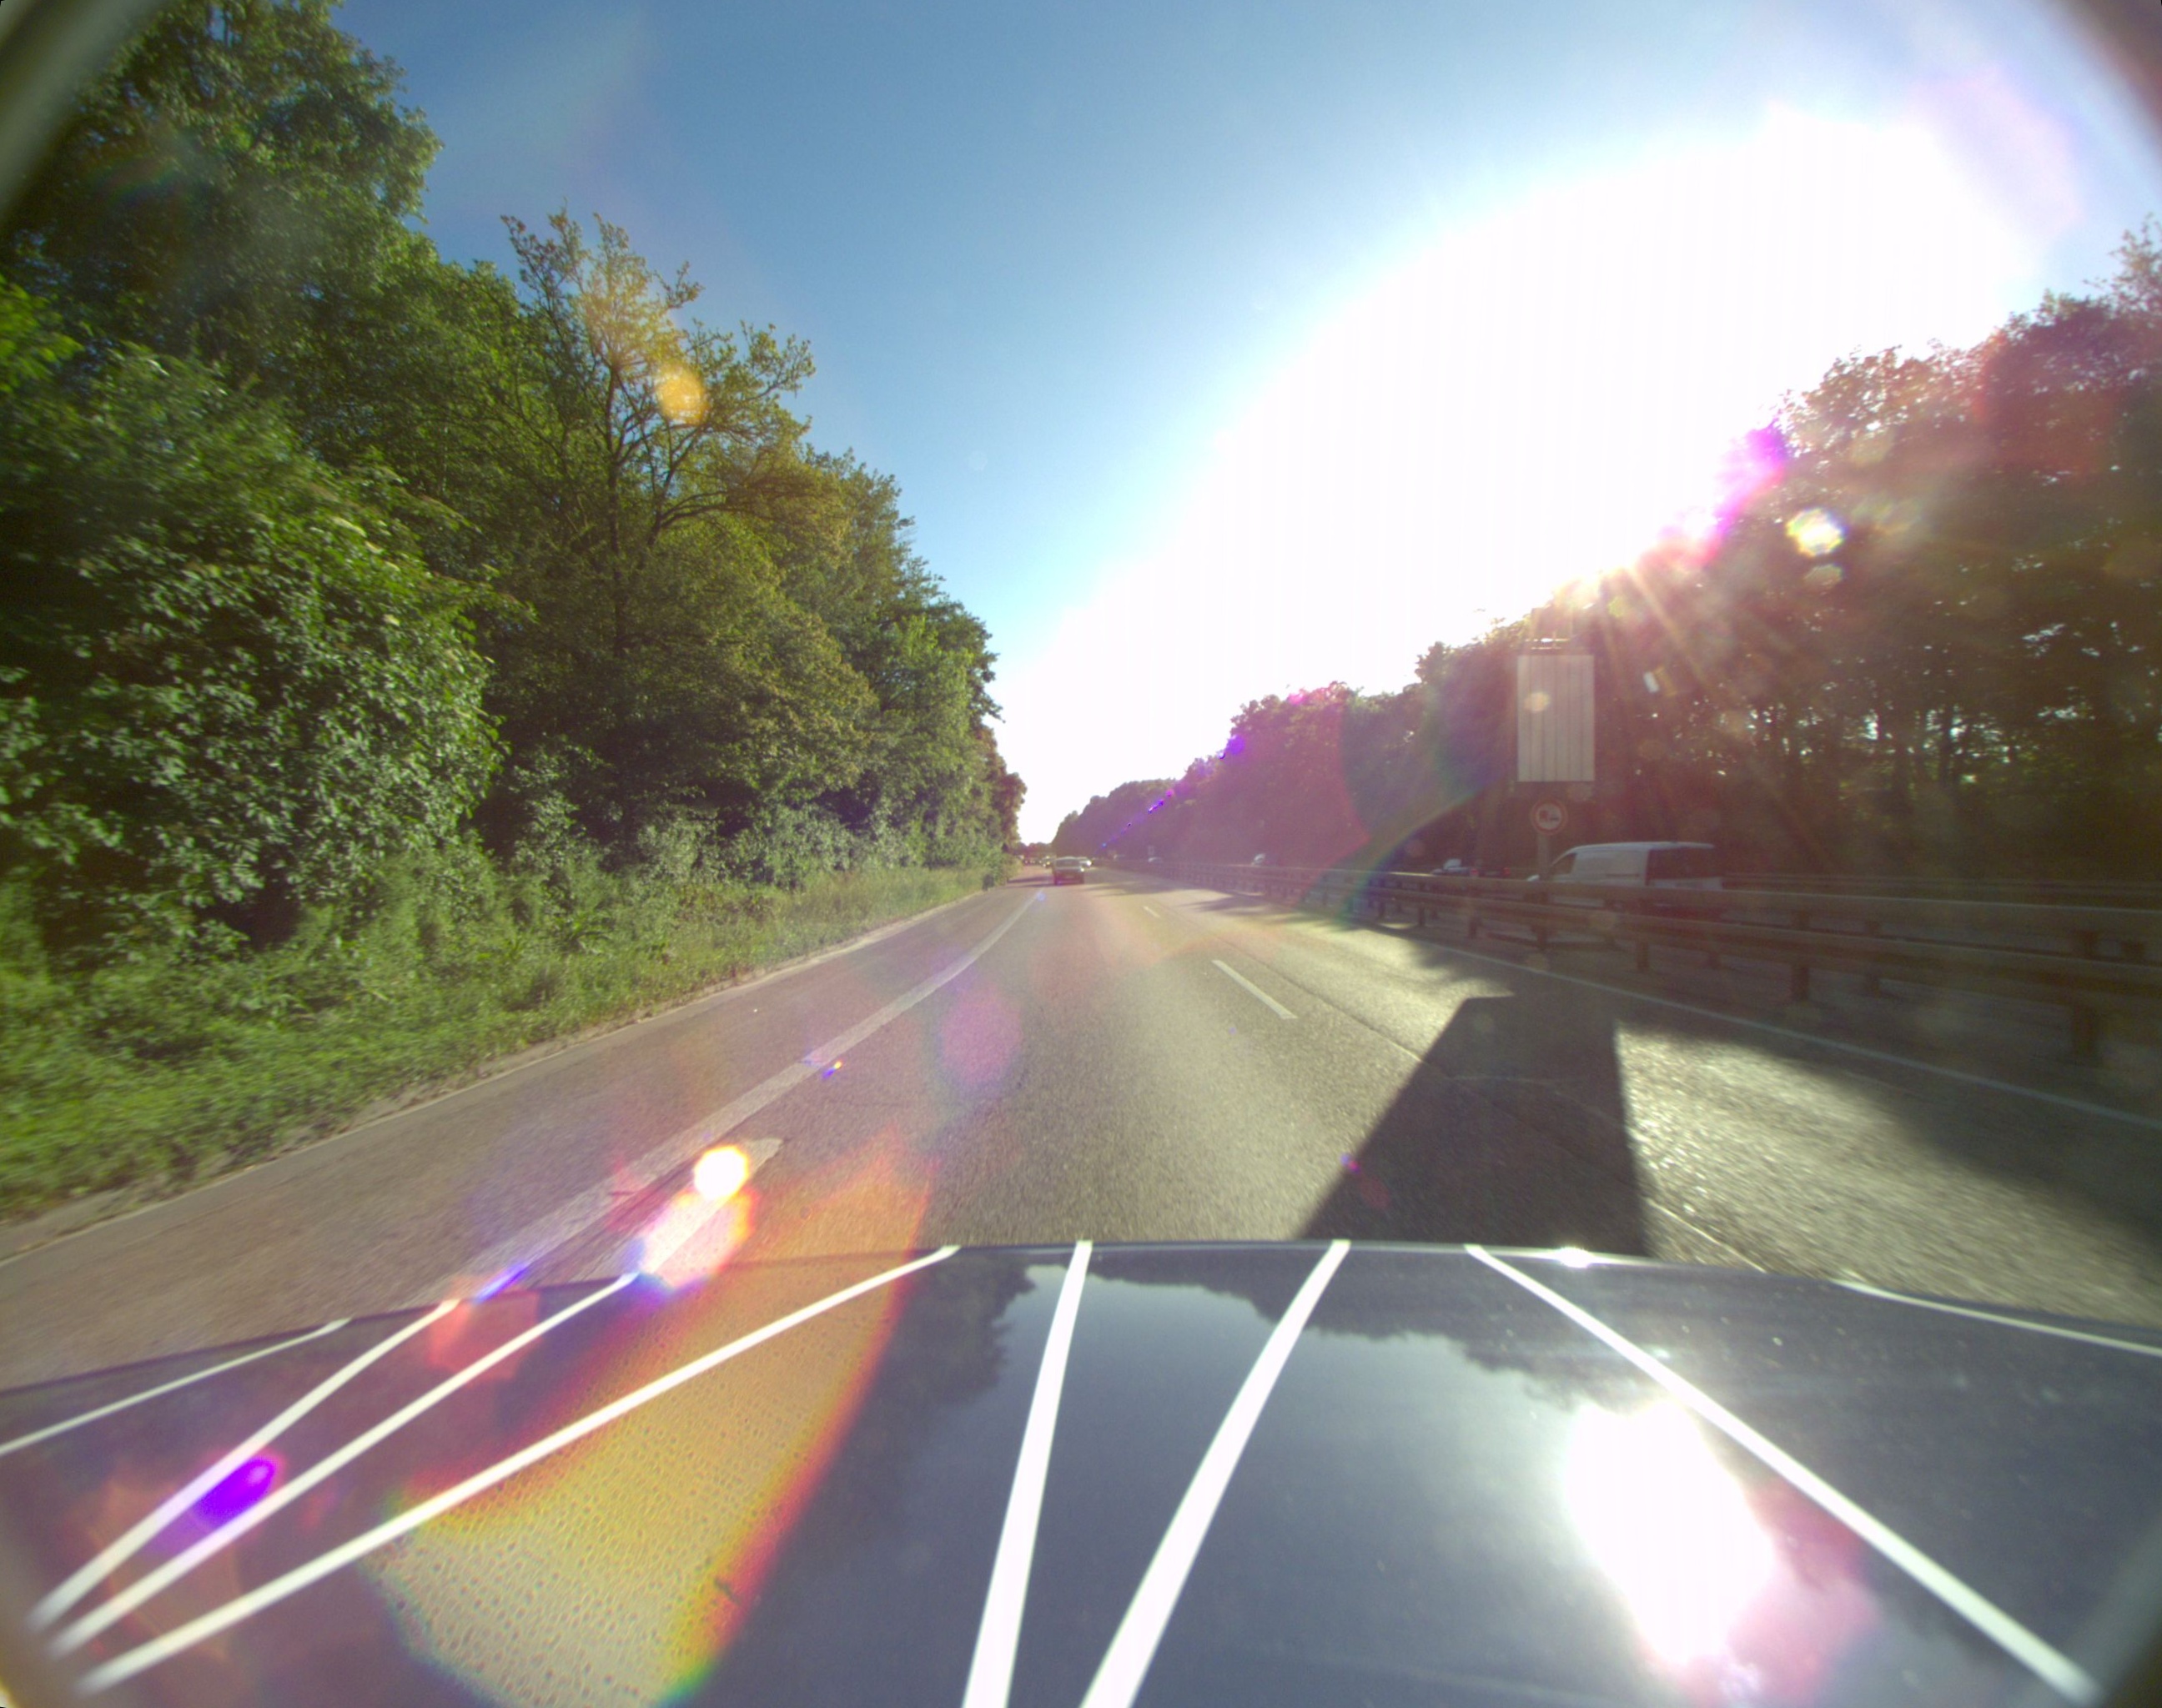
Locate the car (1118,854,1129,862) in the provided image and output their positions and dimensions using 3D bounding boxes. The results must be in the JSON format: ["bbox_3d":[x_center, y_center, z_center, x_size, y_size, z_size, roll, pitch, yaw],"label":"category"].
[{"bbox_3d":[6.980,0.669,124.765,1.625,1.326,3.386,-1,0,-1],"label":"car"}]

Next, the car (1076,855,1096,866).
[{"bbox_3d":[0.685,0.843,100.230,1.903,1.453,4.359,-1,0,10],"label":"car"}]

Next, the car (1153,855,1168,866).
[{"bbox_3d":[9.939,0.813,95.217,1.513,1.326,3.386,-1,0,-1],"label":"car"}]

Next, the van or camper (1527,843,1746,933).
[{"bbox_3d":[12.302,0.673,17.241,1.876,1.756,4.286,-1,0,1],"label":"van or camper"}]

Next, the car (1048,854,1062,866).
[{"bbox_3d":[-3.761,0.833,111.622,1.999,1.761,3.999,-1,0,-2],"label":"car"}]

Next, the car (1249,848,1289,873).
[{"bbox_3d":[14.947,0.483,60.540,1.999,1.867,4.424,-1,0,-1],"label":"car"}]

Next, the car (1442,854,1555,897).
[{"bbox_3d":[15.501,0.759,28.467,1.896,1.450,4.127,-1,0,-1],"label":"car"}]

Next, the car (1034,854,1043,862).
[{"bbox_3d":[-9.948,0.885,179.409,1.999,1.761,3.999,-1,0,-2],"label":"car"}]

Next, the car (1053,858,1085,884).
[{"bbox_3d":[-0.665,0.960,45.562,1.801,1.453,4.356,-1,0,0],"label":"car"}]

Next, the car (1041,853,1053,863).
[{"bbox_3d":[-5.991,0.701,133.344,1.999,1.761,3.999,-1,0,-2],"label":"car"}]

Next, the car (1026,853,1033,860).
[{"bbox_3d":[-14.421,0.660,213.475,1.999,1.761,3.999,-1,0,-2],"label":"car"}]
